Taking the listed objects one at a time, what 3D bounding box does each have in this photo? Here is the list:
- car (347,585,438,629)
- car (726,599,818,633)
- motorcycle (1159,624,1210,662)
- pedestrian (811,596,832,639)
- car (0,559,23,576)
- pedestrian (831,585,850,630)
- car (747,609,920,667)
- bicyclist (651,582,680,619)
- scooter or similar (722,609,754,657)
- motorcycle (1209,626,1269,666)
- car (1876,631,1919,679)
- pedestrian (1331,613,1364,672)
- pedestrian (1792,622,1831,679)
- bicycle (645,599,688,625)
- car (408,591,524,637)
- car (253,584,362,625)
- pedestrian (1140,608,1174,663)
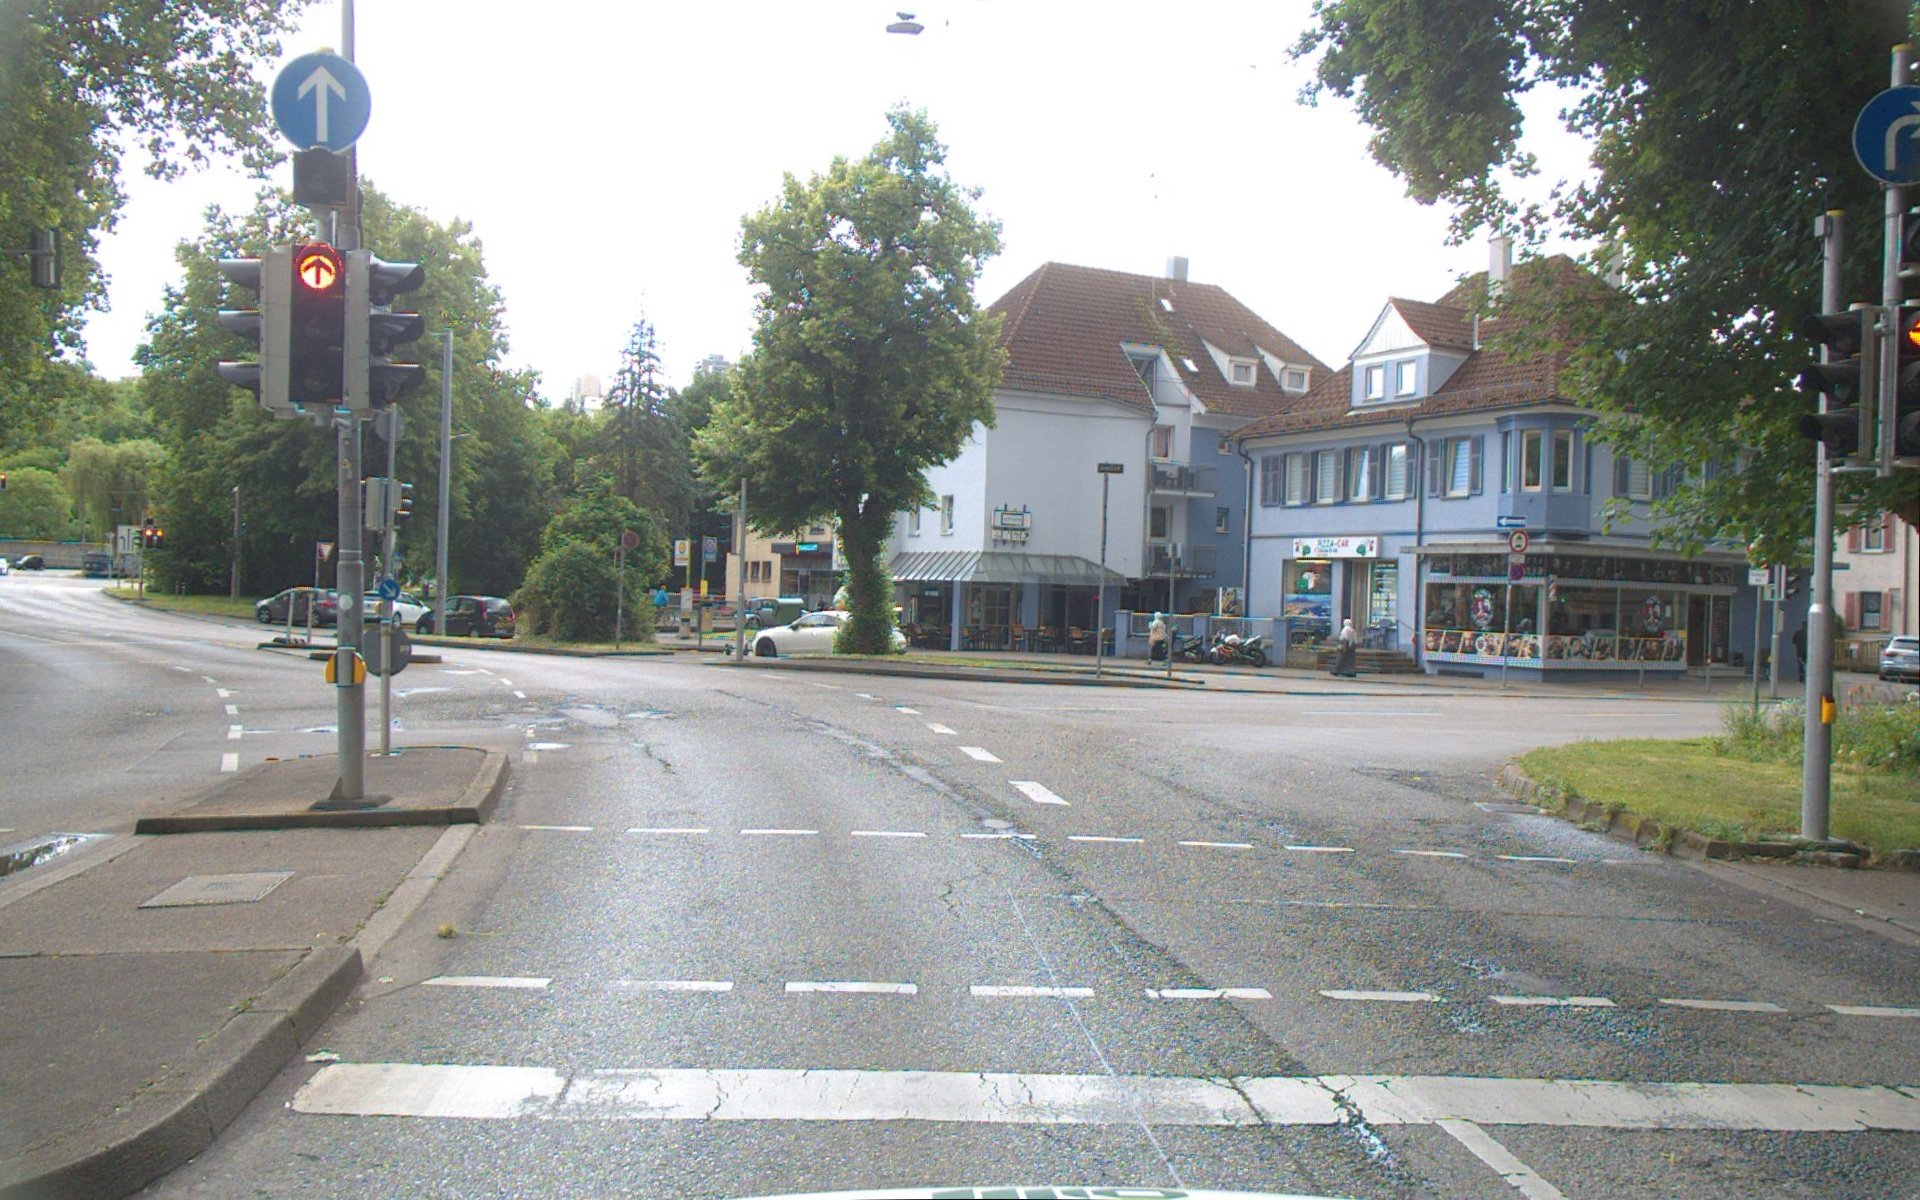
[{"bbox_3d":[-22.729,0.268,66.401,1.821,1.668,3.757,1,0,10],"label":"car"},{"bbox_3d":[-8.576,0.743,75.476,3.880,1.467,1.742,1,0,-21],"label":"car"},{"bbox_3d":[6.817,1.294,50.205,1.430,1.107,0.522,1,0,35],"label":"motorcycle"},{"bbox_3d":[-6.769,0.836,80.739,0.823,2.049,1.052,1,0,-15],"label":"pedestrian"},{"bbox_3d":[-88.633,-3.036,153.874,2.970,1.442,1.492,0,-2,40],"label":"car"},{"bbox_3d":[-4.272,0.278,59.174,0.531,1.587,0.468,0,-1,13],"label":"pedestrian"},{"bbox_3d":[-3.530,1.027,45.679,4.618,1.435,1.896,1,0,35],"label":"car"},{"bbox_3d":[-13.777,0.028,77.410,0.899,1.680,0.986,1,0,33],"label":"bicyclist"},{"bbox_3d":[-5.698,0.834,42.504,0.433,1.195,1.439,1,0,8],"label":"scooter or similar"},{"bbox_3d":[8.170,1.345,48.455,1.595,1.107,0.625,1,0,32],"label":"motorcycle"},{"bbox_3d":[29.701,1.694,51.683,1.849,1.415,3.608,1,0,28],"label":"car"},{"bbox_3d":[10.564,1.160,45.087,0.681,1.587,0.665,0,-1,30],"label":"pedestrian"},{"bbox_3d":[24.021,1.416,46.674,0.659,1.587,0.743,1,-1,-15],"label":"pedestrian"},{"bbox_3d":[-13.727,0.555,77.466,0.858,1.169,1.947,1,0,33],"label":"bicycle"},{"bbox_3d":[-15.911,0.454,53.260,3.252,1.376,1.778,1,0,27],"label":"car"},{"bbox_3d":[-25.004,0.161,63.419,3.695,1.491,1.622,1,0,18],"label":"car"},{"bbox_3d":[5.821,1.051,48.857,0.717,1.587,0.767,0,-1,30],"label":"pedestrian"}]
